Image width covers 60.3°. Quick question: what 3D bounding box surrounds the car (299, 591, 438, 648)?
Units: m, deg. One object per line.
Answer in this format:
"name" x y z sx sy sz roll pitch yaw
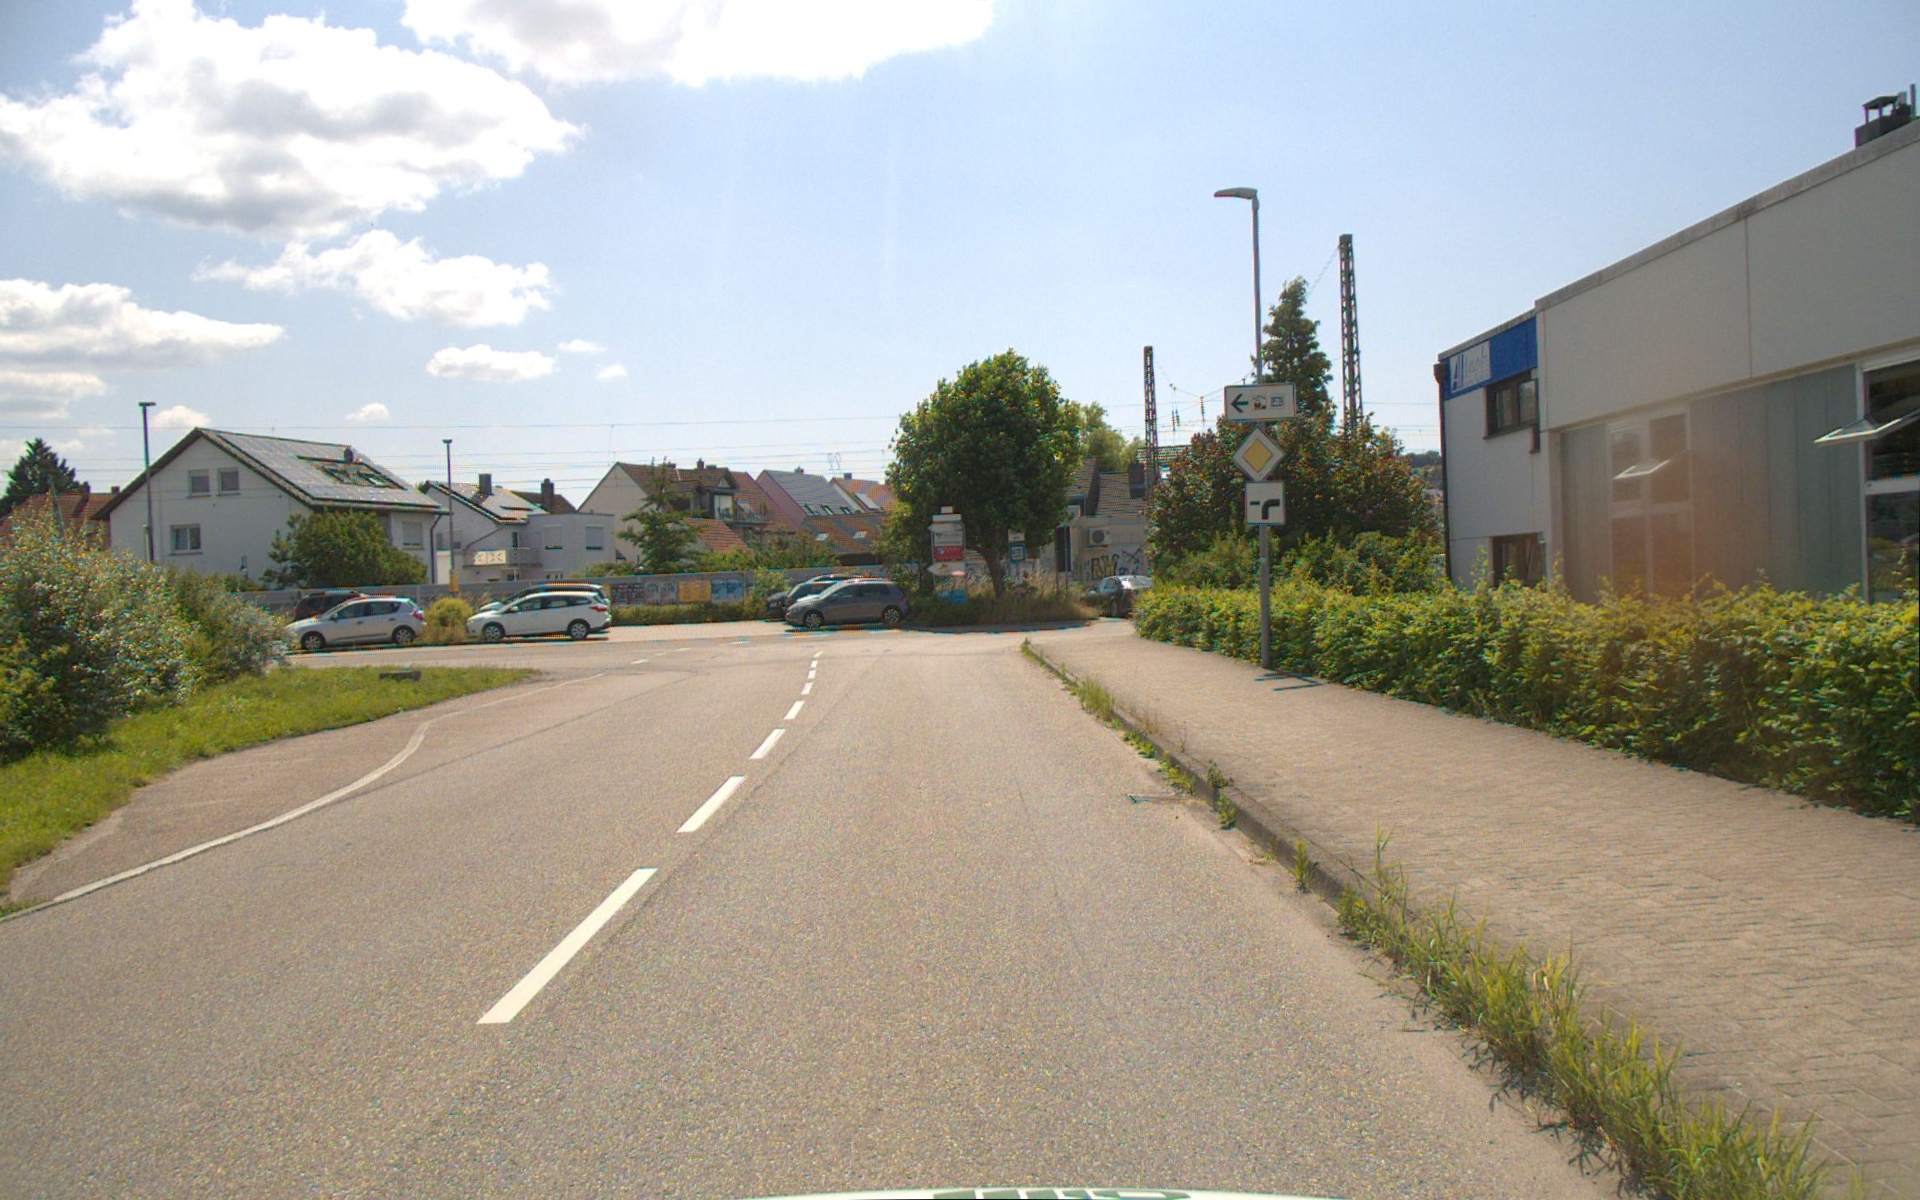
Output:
"car" -18.329 0.591 51.421 3.940 1.589 1.812 -2 0 -19

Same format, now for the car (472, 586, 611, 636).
"car" -13.265 0.338 52.576 4.209 1.502 1.821 0 0 -13

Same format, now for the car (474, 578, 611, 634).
"car" -14.378 0.177 57.158 4.371 1.720 1.996 -2 2 -10

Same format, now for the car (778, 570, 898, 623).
"car" -4.215 -0.123 56.776 3.915 1.614 1.775 -2 0 -11

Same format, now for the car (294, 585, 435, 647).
"car" -19.218 0.498 53.548 4.097 1.667 1.945 -4 1 -18

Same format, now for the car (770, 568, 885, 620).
"car" -4.802 -0.219 59.652 3.916 1.686 1.995 -3 1 -11

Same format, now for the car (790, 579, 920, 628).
"car" -3.500 0.101 54.759 4.111 1.488 1.661 -2 0 -10

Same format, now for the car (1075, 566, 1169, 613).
"car" 5.662 -0.387 58.255 1.727 1.410 3.977 -1 4 -21

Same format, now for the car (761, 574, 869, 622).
"car" -5.458 -0.074 62.200 3.915 1.760 1.766 0 0 -11

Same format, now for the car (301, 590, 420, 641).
"car" -21.010 0.524 58.109 3.770 1.617 1.490 -3 1 -17

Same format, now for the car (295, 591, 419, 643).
"car" -20.347 0.555 55.962 3.720 1.585 1.688 -3 1 -15
